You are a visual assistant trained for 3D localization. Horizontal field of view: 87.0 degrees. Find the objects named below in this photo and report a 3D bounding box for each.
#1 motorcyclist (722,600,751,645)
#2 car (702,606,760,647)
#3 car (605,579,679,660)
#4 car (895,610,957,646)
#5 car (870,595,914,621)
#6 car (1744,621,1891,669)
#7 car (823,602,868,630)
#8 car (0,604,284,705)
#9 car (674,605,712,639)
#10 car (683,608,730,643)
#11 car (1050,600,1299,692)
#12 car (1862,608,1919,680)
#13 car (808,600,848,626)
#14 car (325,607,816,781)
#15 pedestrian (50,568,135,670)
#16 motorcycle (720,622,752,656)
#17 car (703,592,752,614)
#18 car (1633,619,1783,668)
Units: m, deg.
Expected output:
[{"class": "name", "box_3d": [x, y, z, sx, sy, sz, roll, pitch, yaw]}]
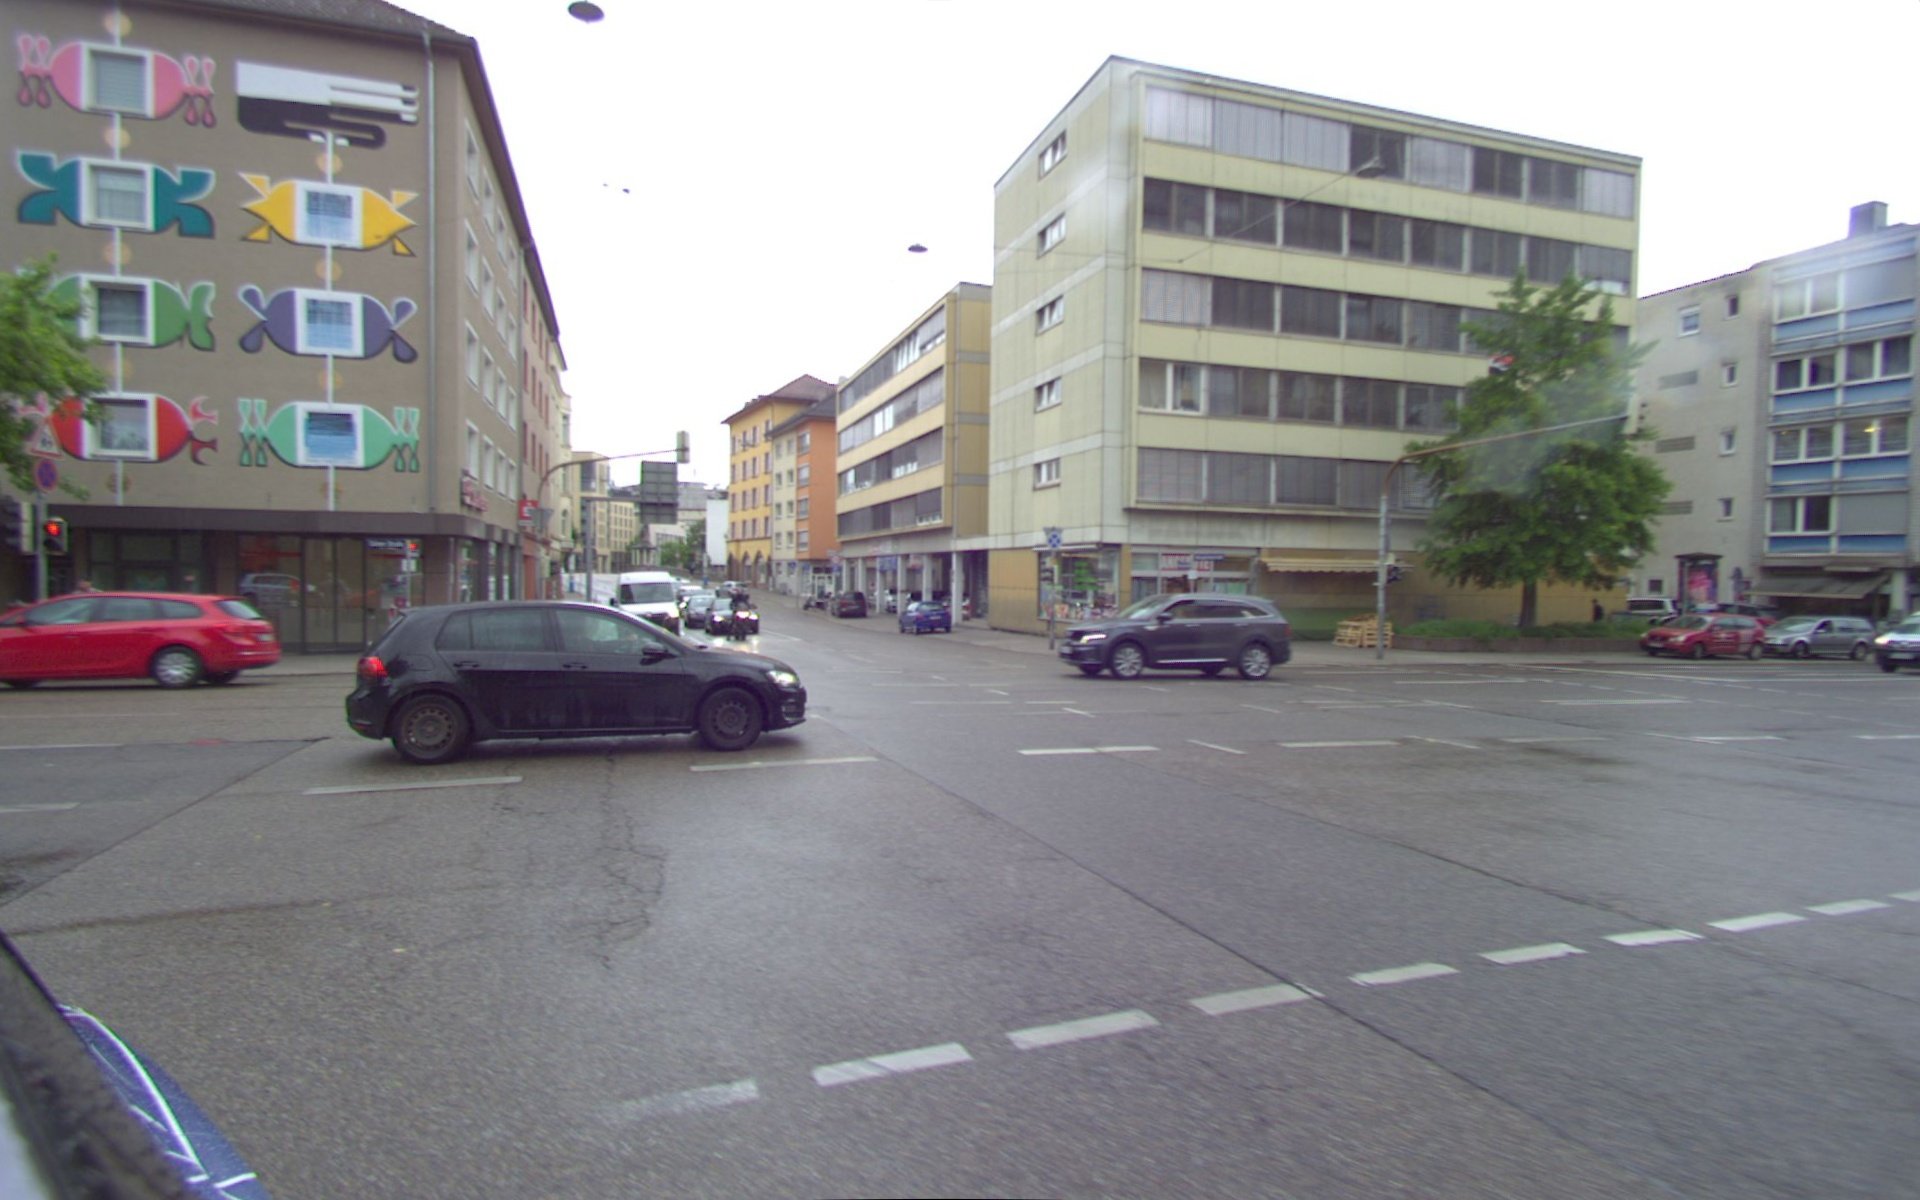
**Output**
[{"class": "motorcyclist", "box_3d": [-7.593, 0.763, 34.350, 0.864, 1.490, 0.799, 0, -1, -18]}, {"class": "car", "box_3d": [-8.963, 0.995, 39.423, 1.819, 1.430, 3.580, -2, 0, -18]}, {"class": "car", "box_3d": [-11.059, 0.639, 35.162, 2.195, 2.543, 5.487, -2, 0, -18]}, {"class": "car", "box_3d": [-1.556, 1.227, 45.117, 1.819, 1.430, 3.580, -2, 0, -18]}, {"class": "car", "box_3d": [-4.600, 0.549, 67.758, 1.818, 1.579, 4.383, -2, 0, -18]}, {"class": "car", "box_3d": [28.290, 1.465, 33.425, 3.826, 1.437, 1.730, 1, 1, -13]}, {"class": "car", "box_3d": [-7.044, 0.959, 61.837, 1.819, 1.579, 4.382, -2, 0, -18]}, {"class": "car", "box_3d": [-13.192, 0.795, 15.408, 4.504, 1.434, 1.713, 1, -1, -18]}, {"class": "car", "box_3d": [-14.902, 1.205, 56.394, 1.819, 1.727, 3.580, -2, 0, -18]}, {"class": "car", "box_3d": [-11.618, 1.143, 46.230, 1.819, 1.430, 3.580, -2, 0, -18]}, {"class": "car", "box_3d": [4.287, 0.907, 20.453, 4.493, 1.715, 1.997, 1, -1, -16]}, {"class": "car", "box_3d": [26.852, 1.180, 27.193, 4.159, 1.869, 1.997, 1, -1, -16]}, {"class": "car", "box_3d": [-8.709, 0.840, 66.468, 1.819, 1.579, 4.382, -2, 0, -18]}, {"class": "car", "box_3d": [-3.595, 0.789, 9.842, 4.095, 1.435, 1.693, 0, 0, -18]}, {"class": "pedestrian", "box_3d": [-15.628, 0.344, 18.257, 0.888, 1.787, 0.820, 1, -1, -19]}, {"class": "motorcycle", "box_3d": [-7.635, 1.300, 34.465, 0.864, 1.108, 1.806, 0, -1, -18]}, {"class": "car", "box_3d": [-19.498, 0.219, 84.788, 4.368, 1.721, 1.825, 2, 2, 41]}, {"class": "car", "box_3d": [23.841, 1.383, 32.305, 3.826, 1.437, 1.730, 1, 1, -13]}]
